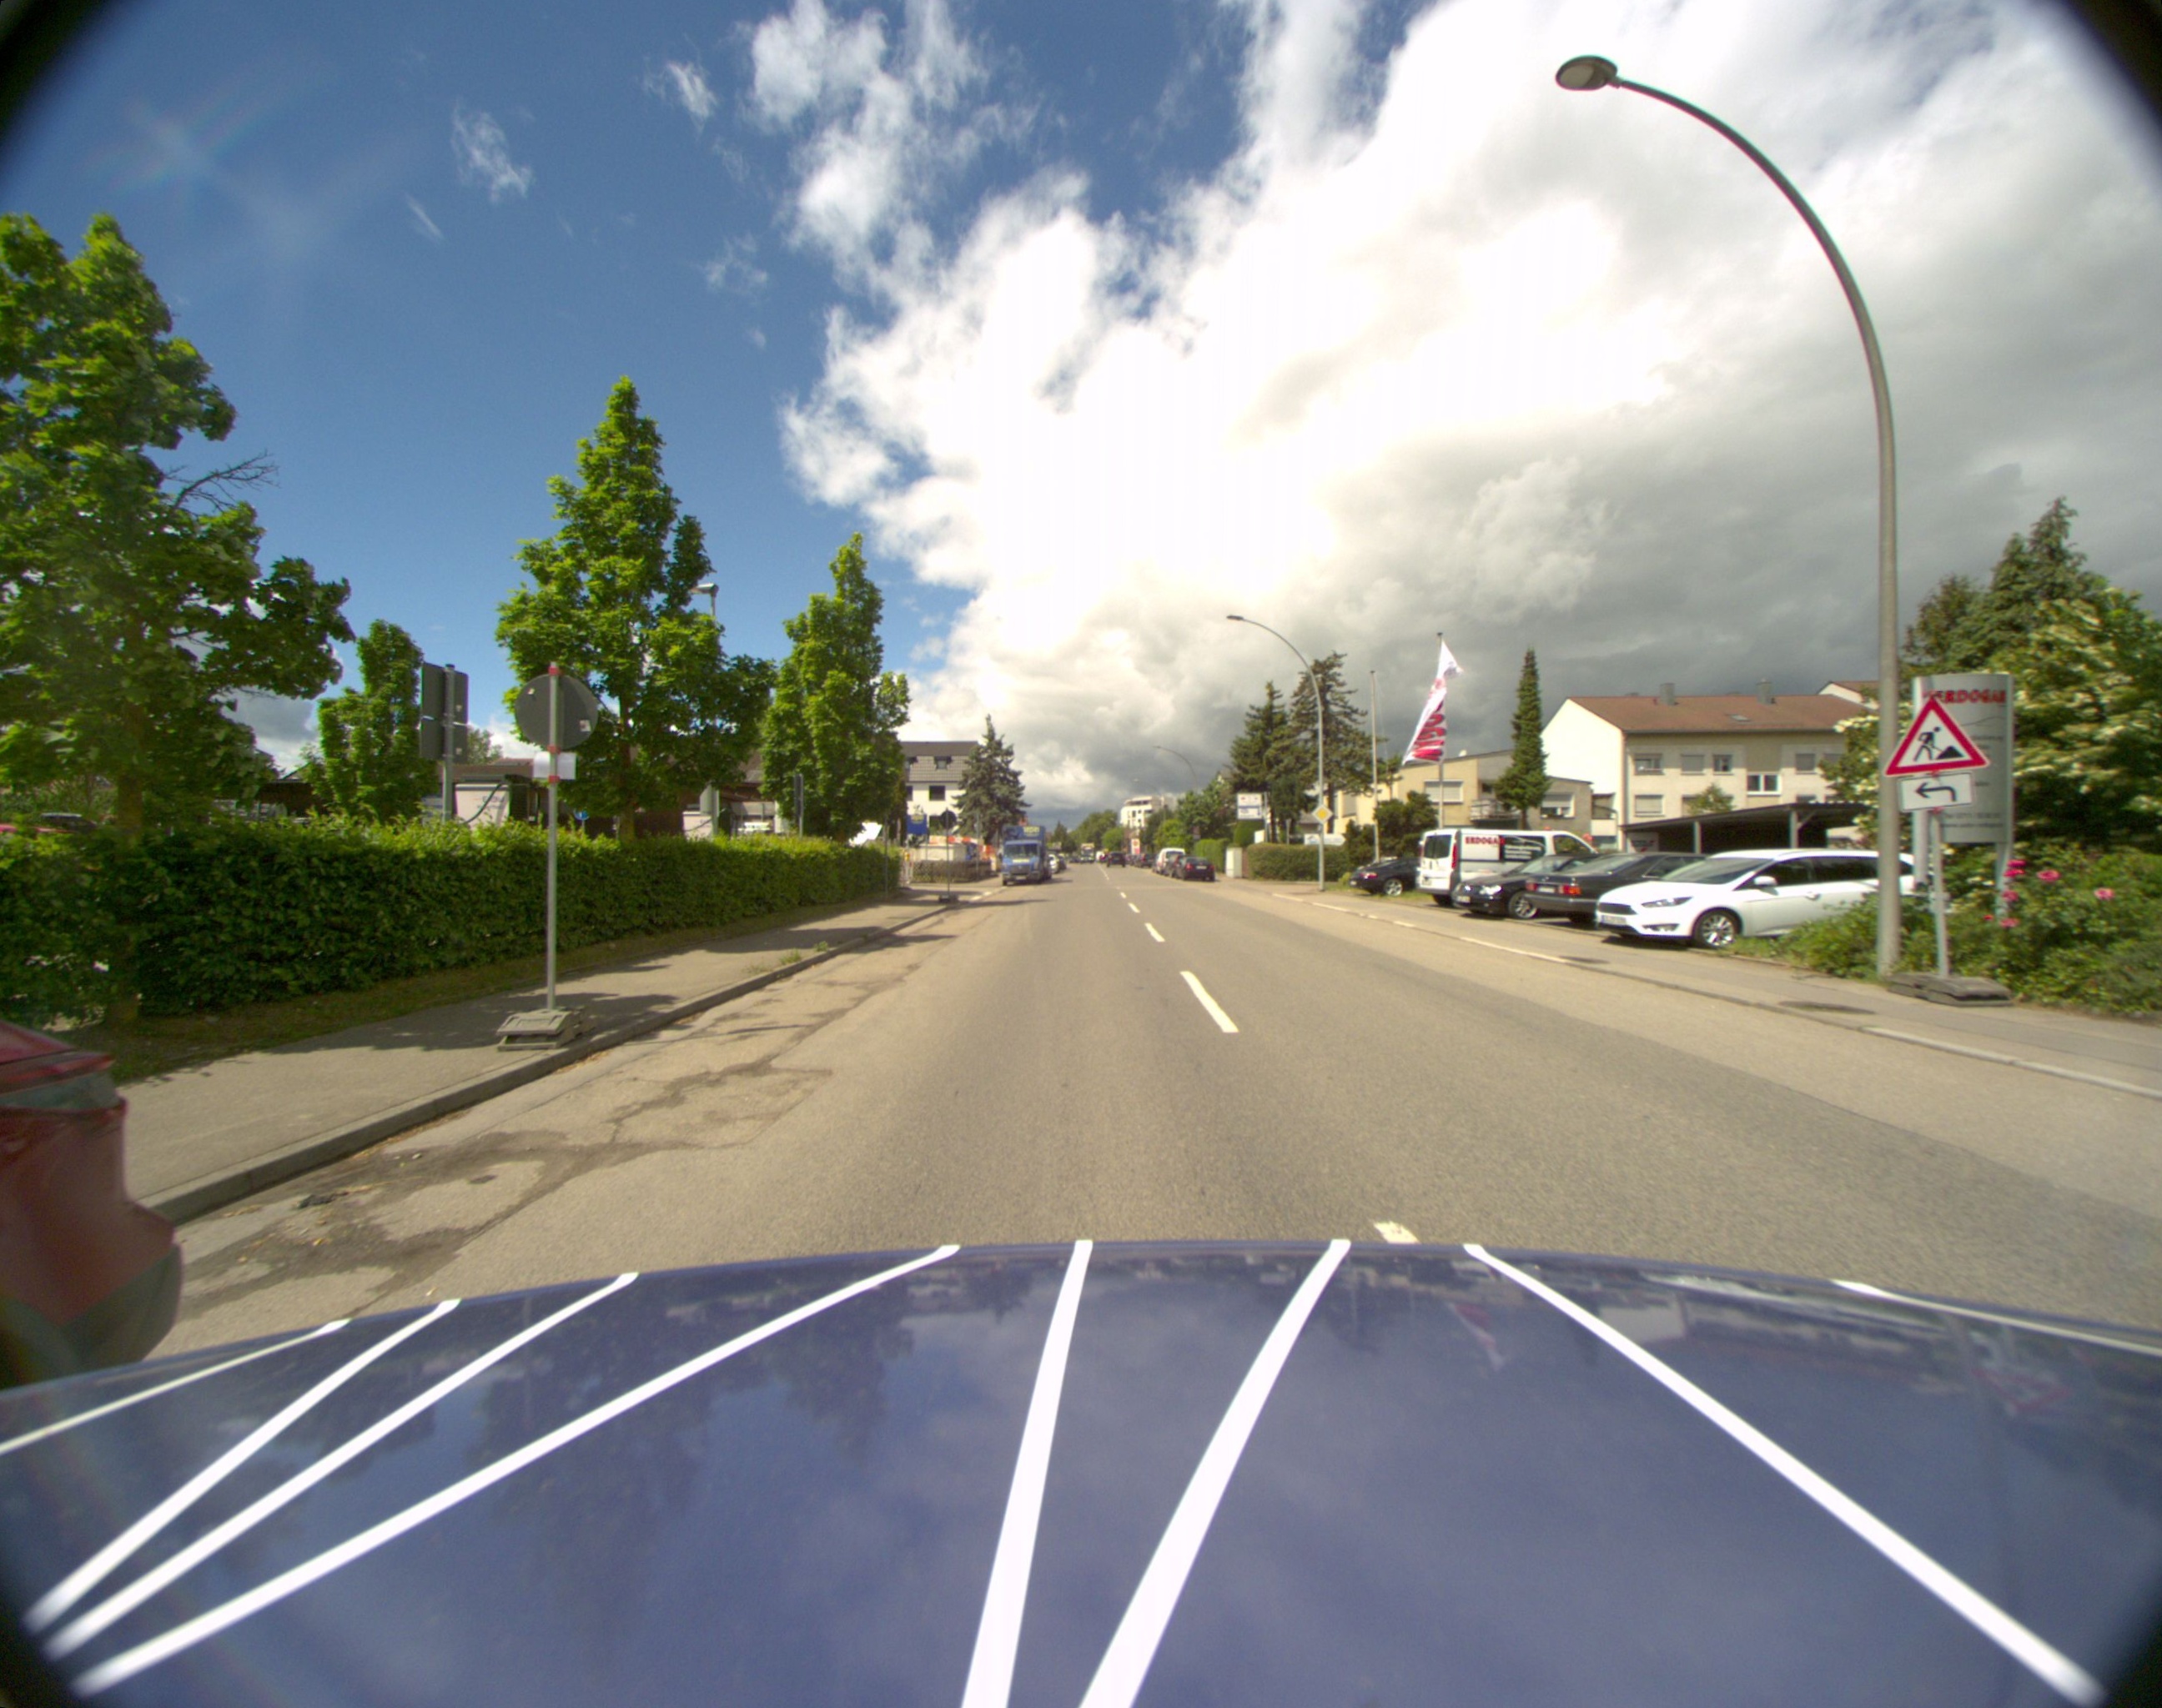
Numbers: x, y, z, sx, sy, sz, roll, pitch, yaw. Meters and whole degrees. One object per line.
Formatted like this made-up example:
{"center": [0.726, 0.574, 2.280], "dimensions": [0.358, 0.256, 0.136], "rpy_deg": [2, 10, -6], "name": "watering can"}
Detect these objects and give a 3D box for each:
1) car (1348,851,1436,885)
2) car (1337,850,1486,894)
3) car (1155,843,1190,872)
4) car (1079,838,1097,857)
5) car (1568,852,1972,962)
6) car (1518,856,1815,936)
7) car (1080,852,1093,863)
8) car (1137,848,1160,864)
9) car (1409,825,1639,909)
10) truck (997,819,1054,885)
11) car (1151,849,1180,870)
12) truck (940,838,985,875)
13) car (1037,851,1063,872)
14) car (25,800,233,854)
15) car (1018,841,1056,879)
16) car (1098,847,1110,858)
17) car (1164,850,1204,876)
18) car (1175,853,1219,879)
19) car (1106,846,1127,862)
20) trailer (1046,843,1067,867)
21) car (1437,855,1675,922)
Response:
{"center": [14.927, 0.652, 36.639], "dimensions": [3.561, 1.469, 1.614], "rpy_deg": [2, 0, 2], "name": "car"}
{"center": [10.705, 0.566, 24.818], "dimensions": [3.997, 1.197, 1.871], "rpy_deg": [-3, 0, -1], "name": "car"}
{"center": [6.264, 0.243, 52.351], "dimensions": [1.748, 1.827, 4.355], "rpy_deg": [2, 0, -1], "name": "car"}
{"center": [1.417, -1.223, 153.717], "dimensions": [3.263, 3.595, 10.269], "rpy_deg": [-2, -1, -1], "name": "car"}
{"center": [10.201, 0.736, 11.542], "dimensions": [4.385, 1.470, 1.871], "rpy_deg": [0, 2, 1], "name": "car"}
{"center": [10.617, 0.731, 14.035], "dimensions": [3.996, 1.347, 1.872], "rpy_deg": [0, 0, 3], "name": "car"}
{"center": [0.891, 0.614, 122.022], "dimensions": [1.892, 1.708, 3.998], "rpy_deg": [0, 0, -4], "name": "car"}
{"center": [6.563, 0.195, 73.938], "dimensions": [1.724, 1.484, 4.735], "rpy_deg": [0, 0, -1], "name": "car"}
{"center": [11.119, 0.311, 19.313], "dimensions": [4.664, 1.960, 2.115], "rpy_deg": [0, 0, -3], "name": "car"}
{"center": [-2.830, -0.089, 39.985], "dimensions": [2.326, 3.079, 6.042], "rpy_deg": [-2, 0, 1], "name": "truck"}
{"center": [6.461, 0.414, 58.496], "dimensions": [1.644, 1.478, 4.000], "rpy_deg": [2, 0, -1], "name": "car"}
{"center": [-7.085, 0.206, 45.877], "dimensions": [1.834, 2.069, 5.386], "rpy_deg": [2, -1, 0], "name": "truck"}
{"center": [-2.361, 0.559, 58.329], "dimensions": [1.777, 1.499, 4.000], "rpy_deg": [0, 0, 0], "name": "car"}
{"center": [-31.622, -0.828, 25.449], "dimensions": [1.750, 1.575, 4.001], "rpy_deg": [-3, 0, 3], "name": "car"}
{"center": [-2.613, 0.354, 46.182], "dimensions": [1.878, 2.156, 4.464], "rpy_deg": [-2, 0, 1], "name": "car"}
{"center": [3.485, -0.217, 116.747], "dimensions": [1.748, 1.618, 4.356], "rpy_deg": [-1, 0, 0], "name": "car"}
{"center": [6.284, 0.521, 46.697], "dimensions": [1.748, 1.463, 4.644], "rpy_deg": [2, 0, -1], "name": "car"}
{"center": [6.352, 0.622, 41.988], "dimensions": [1.635, 1.296, 4.116], "rpy_deg": [2, 0, -2], "name": "car"}
{"center": [3.729, -0.033, 79.852], "dimensions": [1.998, 1.606, 4.411], "rpy_deg": [1, 0, 0], "name": "car"}
{"center": [-2.230, 0.131, 69.784], "dimensions": [1.777, 2.132, 4.114], "rpy_deg": [0, 0, 0], "name": "trailer"}
{"center": [10.141, 0.711, 16.454], "dimensions": [3.997, 1.307, 1.871], "rpy_deg": [0, 1, -1], "name": "car"}
